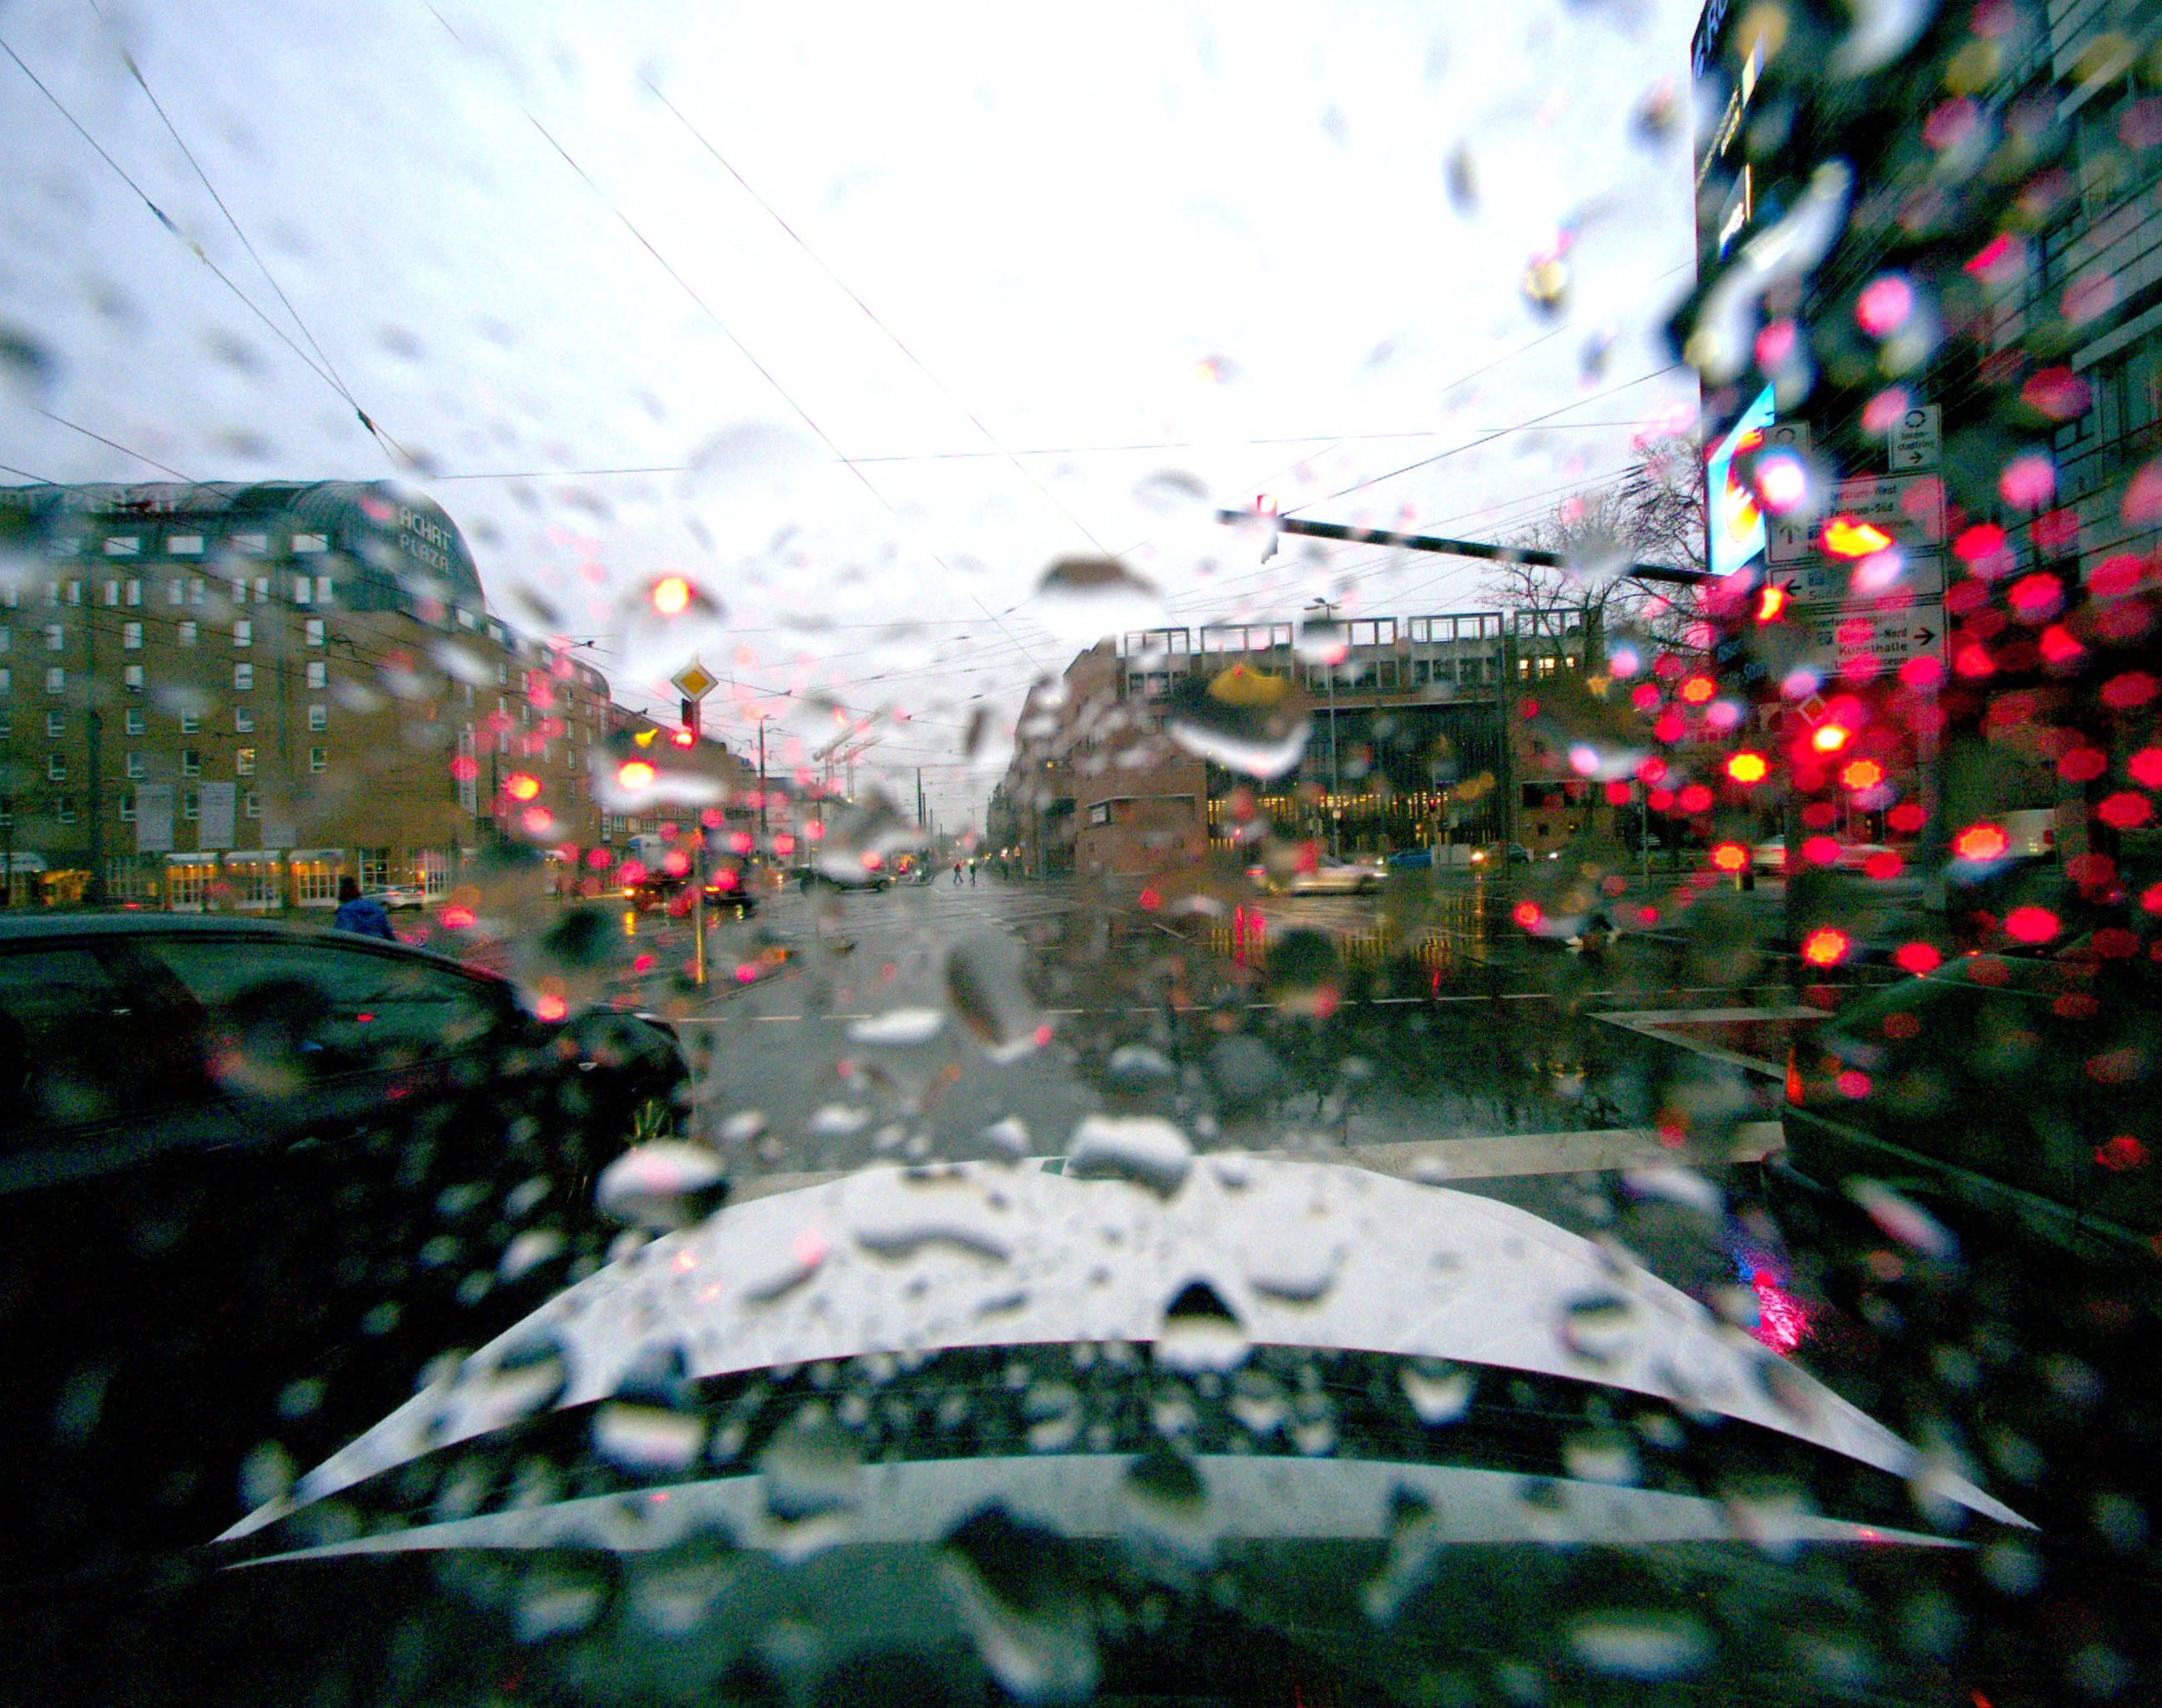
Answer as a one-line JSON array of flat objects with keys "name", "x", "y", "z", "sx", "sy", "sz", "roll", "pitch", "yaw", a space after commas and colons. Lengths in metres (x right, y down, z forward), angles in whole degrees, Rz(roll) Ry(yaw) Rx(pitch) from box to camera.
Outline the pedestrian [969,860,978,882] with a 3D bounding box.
[{"name": "pedestrian", "x": -8.572, "y": 1.374, "z": 64.935, "sx": 0.665, "sy": 1.725, "sz": 0.487, "roll": -2, "pitch": 0, "yaw": -9}]

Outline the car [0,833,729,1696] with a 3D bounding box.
[{"name": "car", "x": -2.716, "y": 0.752, "z": 2.156, "sx": 1.623, "sy": 1.523, "sz": 3.945, "roll": -3, "pitch": 0, "yaw": 3}]

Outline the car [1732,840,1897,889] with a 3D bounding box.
[{"name": "car", "x": 26.970, "y": 0.363, "z": 29.983, "sx": 4.821, "sy": 1.561, "sz": 2.042, "roll": -2, "pitch": 0, "yaw": -12}]

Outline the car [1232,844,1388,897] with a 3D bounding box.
[{"name": "car", "x": 7.780, "y": 0.554, "z": 28.146, "sx": 4.955, "sy": 1.607, "sz": 2.261, "roll": -2, "pitch": 0, "yaw": 11}]

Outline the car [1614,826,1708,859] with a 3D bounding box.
[{"name": "car", "x": 32.254, "y": -0.652, "z": 45.353, "sx": 3.979, "sy": 1.600, "sz": 1.845, "roll": -2, "pitch": 4, "yaw": -4}]

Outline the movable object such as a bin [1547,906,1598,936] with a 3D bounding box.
[{"name": "movable object such as a bin", "x": 8.297, "y": 1.135, "z": 13.764, "sx": 0.676, "sy": 0.469, "sz": 0.312, "roll": -1, "pitch": -1, "yaw": -4}]

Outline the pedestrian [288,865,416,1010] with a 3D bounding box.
[{"name": "pedestrian", "x": -8.804, "y": 0.973, "z": 9.888, "sx": 1.042, "sy": 1.601, "sz": 0.708, "roll": -3, "pitch": -1, "yaw": -37}]

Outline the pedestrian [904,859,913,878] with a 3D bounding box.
[{"name": "pedestrian", "x": -15.725, "y": 1.303, "z": 74.314, "sx": 0.693, "sy": 1.724, "sz": 0.763, "roll": -2, "pitch": 0, "yaw": -9}]

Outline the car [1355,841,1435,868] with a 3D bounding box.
[{"name": "car", "x": 18.319, "y": 0.013, "z": 47.550, "sx": 3.979, "sy": 1.263, "sz": 1.845, "roll": -2, "pitch": 4, "yaw": -4}]

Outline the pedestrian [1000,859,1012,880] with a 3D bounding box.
[{"name": "pedestrian", "x": -6.103, "y": 1.227, "z": 66.134, "sx": 0.843, "sy": 1.687, "sz": 0.647, "roll": -2, "pitch": 0, "yaw": -9}]

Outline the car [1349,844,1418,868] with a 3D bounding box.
[{"name": "car", "x": 19.151, "y": 0.119, "z": 51.619, "sx": 3.713, "sy": 1.263, "sz": 1.845, "roll": -2, "pitch": 4, "yaw": -4}]

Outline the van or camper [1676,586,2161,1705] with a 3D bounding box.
[{"name": "van or camper", "x": 2.677, "y": 0.492, "z": 0.325, "sx": 1.750, "sy": 1.906, "sz": 4.420, "roll": -1, "pitch": 0, "yaw": 2}]

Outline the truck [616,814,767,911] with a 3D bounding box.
[{"name": "truck", "x": -16.512, "y": 0.395, "z": 34.279, "sx": 7.430, "sy": 3.633, "sz": 2.866, "roll": -2, "pitch": 0, "yaw": 41}]

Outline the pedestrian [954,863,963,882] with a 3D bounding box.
[{"name": "pedestrian", "x": -10.015, "y": 1.484, "z": 66.487, "sx": 0.700, "sy": 1.484, "sz": 0.574, "roll": -2, "pitch": 0, "yaw": -9}]

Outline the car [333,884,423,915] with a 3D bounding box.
[{"name": "car", "x": -35.554, "y": 2.279, "z": 41.179, "sx": 3.953, "sy": 1.447, "sz": 1.720, "roll": -1, "pitch": 0, "yaw": 21}]

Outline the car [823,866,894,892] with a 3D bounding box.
[{"name": "car", "x": -13.199, "y": 1.454, "z": 48.357, "sx": 3.999, "sy": 1.441, "sz": 1.703, "roll": 0, "pitch": -1, "yaw": -19}]

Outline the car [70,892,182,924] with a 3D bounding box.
[{"name": "car", "x": -50.258, "y": 2.831, "z": 42.901, "sx": 3.735, "sy": 1.459, "sz": 1.702, "roll": -2, "pitch": 0, "yaw": -2}]

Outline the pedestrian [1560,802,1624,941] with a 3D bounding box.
[{"name": "pedestrian", "x": 8.286, "y": 0.279, "z": 13.218, "sx": 0.574, "sy": 2.184, "sz": 0.619, "roll": -1, "pitch": -1, "yaw": -4}]

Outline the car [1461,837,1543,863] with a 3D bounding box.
[{"name": "car", "x": 24.826, "y": -0.255, "z": 48.102, "sx": 3.979, "sy": 1.288, "sz": 1.845, "roll": -2, "pitch": 4, "yaw": -4}]

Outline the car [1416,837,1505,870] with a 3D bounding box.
[{"name": "car", "x": 20.439, "y": -0.058, "z": 43.917, "sx": 3.979, "sy": 1.504, "sz": 1.845, "roll": -2, "pitch": 4, "yaw": -4}]

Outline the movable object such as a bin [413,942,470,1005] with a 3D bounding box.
[{"name": "movable object such as a bin", "x": -8.008, "y": 1.485, "z": 10.207, "sx": 0.540, "sy": 0.699, "sz": 0.408, "roll": -2, "pitch": -2, "yaw": -38}]
